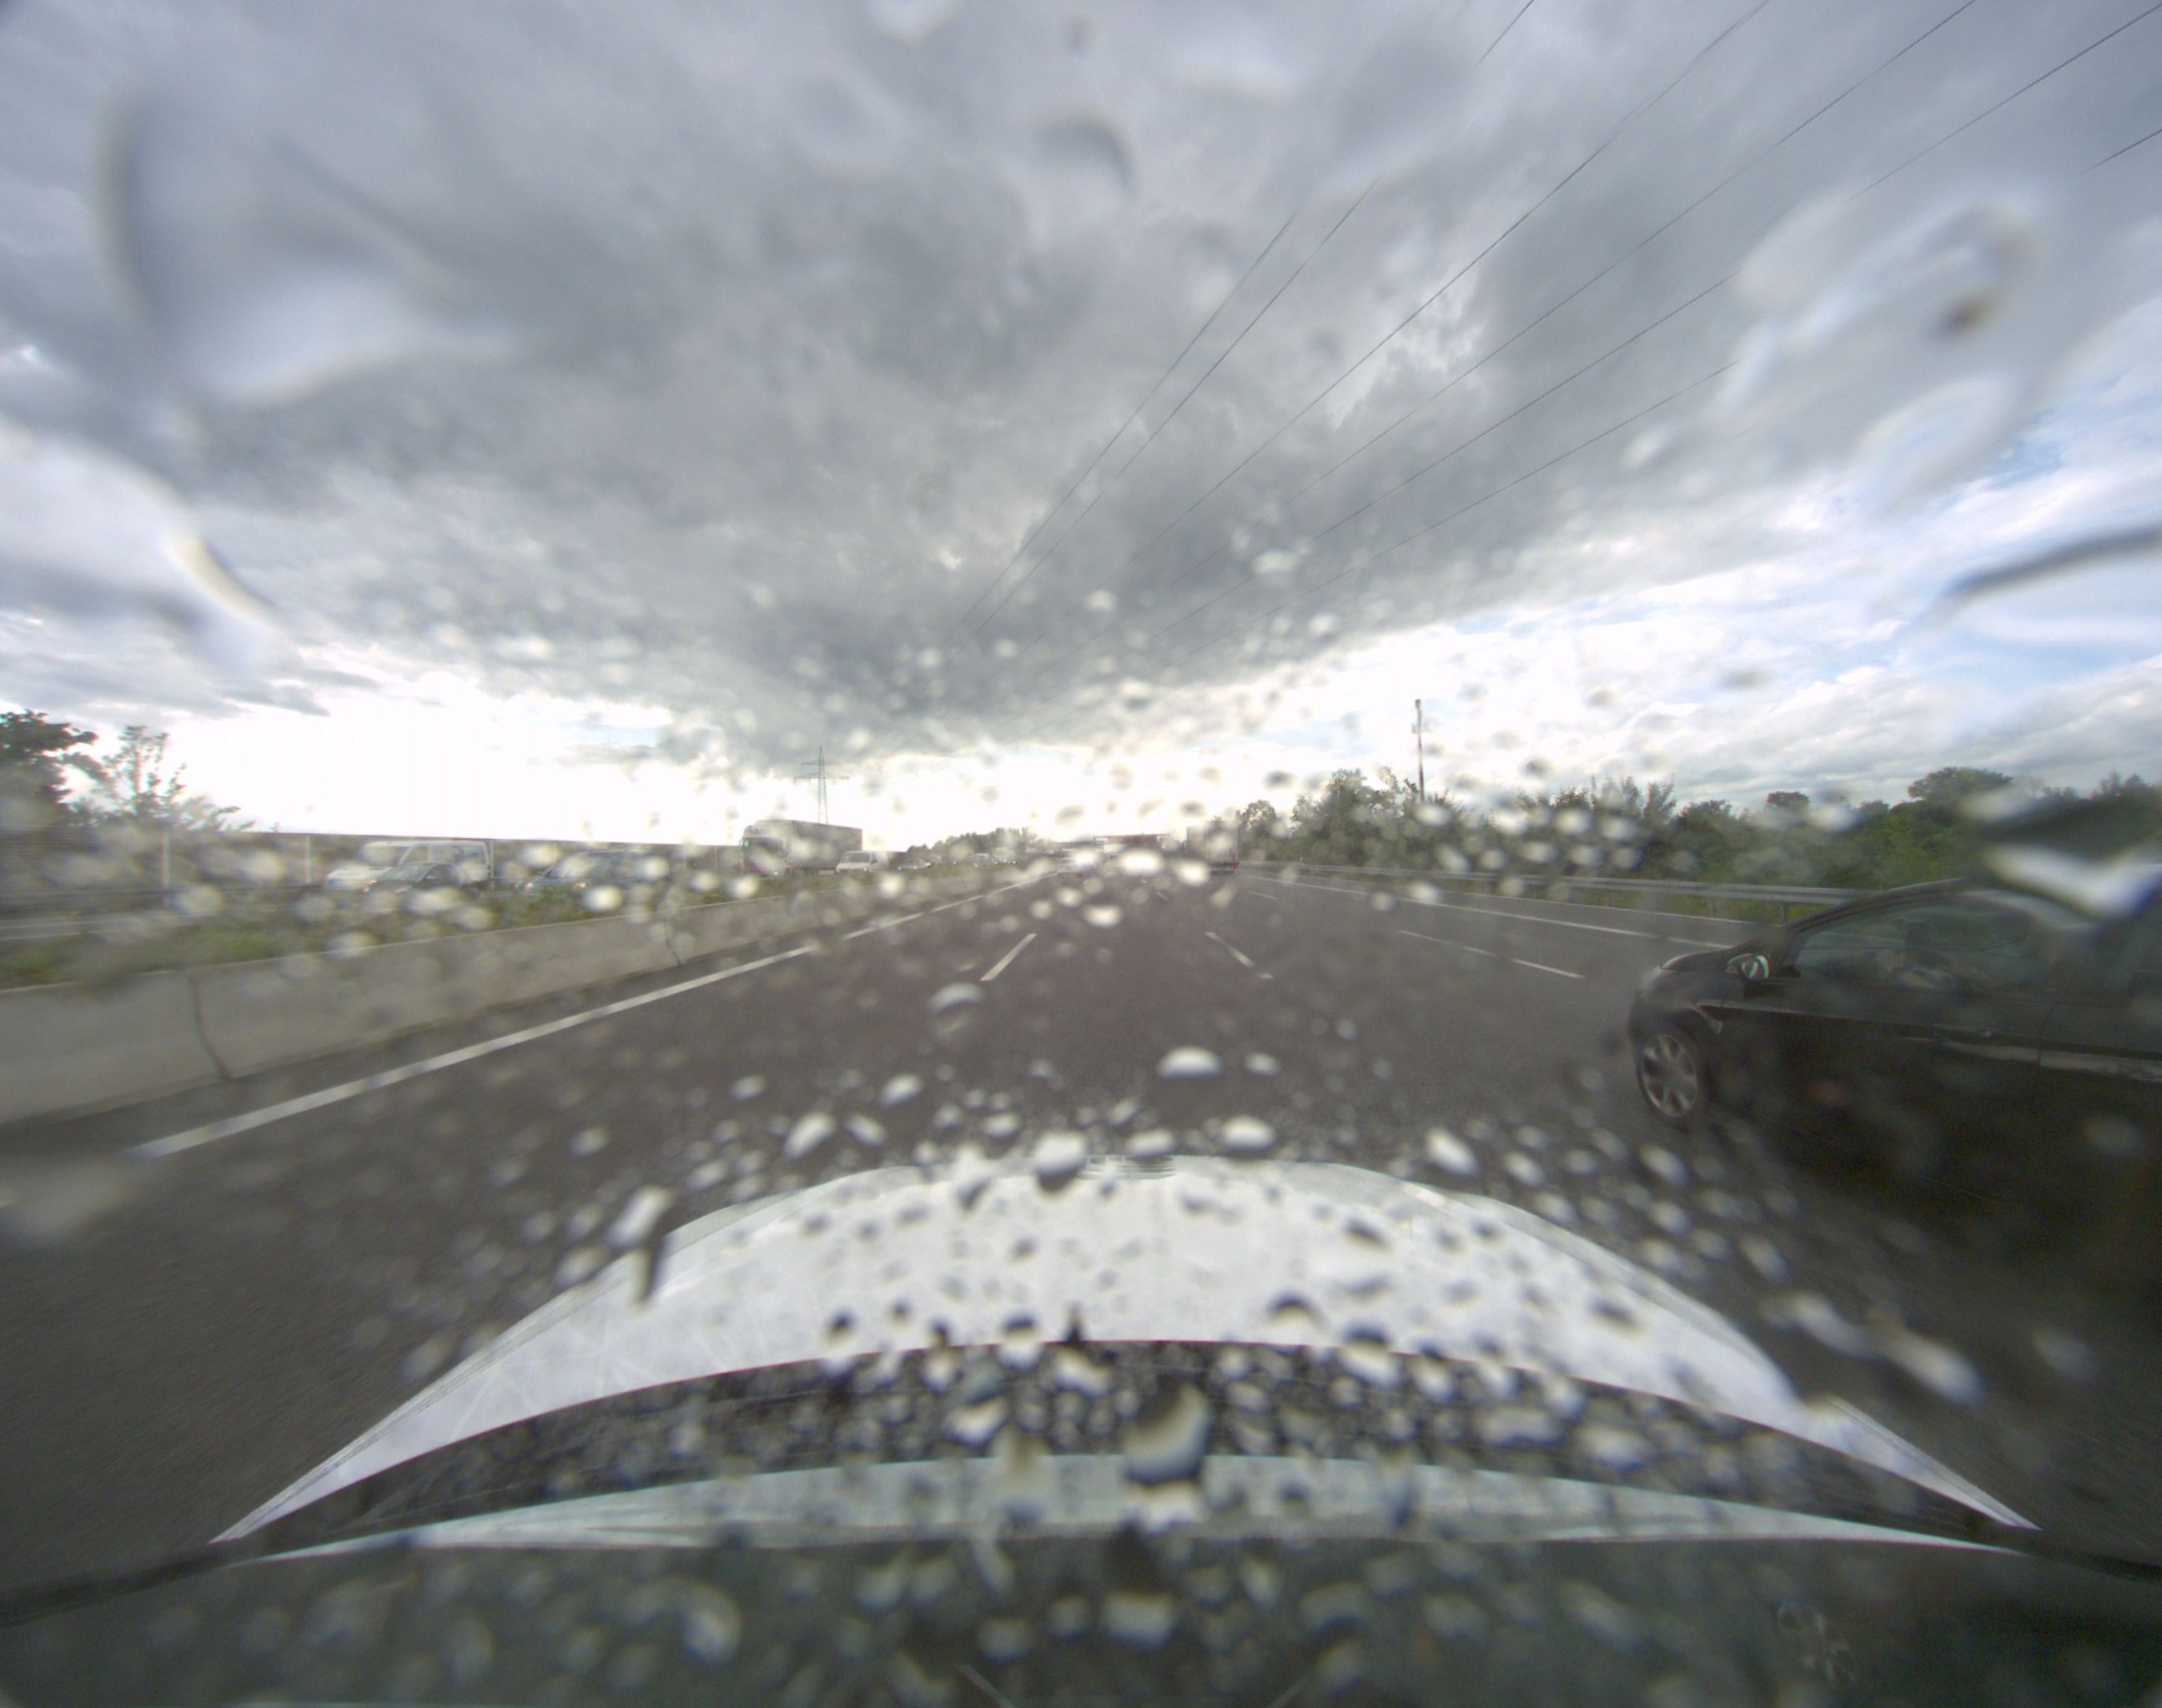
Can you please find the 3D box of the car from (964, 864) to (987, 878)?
[{"bbox_3d":[-11.456,1.862,88.562,1.759,1.454,5.087,0,0,2],"label":"car"}]

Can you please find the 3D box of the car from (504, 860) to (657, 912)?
[{"bbox_3d":[-16.359,0.977,27.023,1.759,1.537,5.162,0,0,2],"label":"car"}]

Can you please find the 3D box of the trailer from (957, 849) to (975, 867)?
[{"bbox_3d":[-19.121,0.660,135.883,2.239,2.962,4.902,0,-1,1],"label":"trailer"}]

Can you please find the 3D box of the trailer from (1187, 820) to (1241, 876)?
[{"bbox_3d":[10.456,-0.411,65.699,2.948,4.020,14.132,-1,0,4],"label":"trailer"}]

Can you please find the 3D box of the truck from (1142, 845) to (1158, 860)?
[{"bbox_3d":[20.068,-0.411,237.911,4.226,4.176,11.999,0,0,3],"label":"truck"}]

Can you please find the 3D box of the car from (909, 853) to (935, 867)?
[{"bbox_3d":[-17.458,0.683,89.813,1.759,1.454,4.944,0,0,1],"label":"car"}]

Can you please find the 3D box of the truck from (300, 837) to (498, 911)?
[{"bbox_3d":[-24.359,0.680,29.520,2.108,2.417,5.800,0,0,2],"label":"truck"}]

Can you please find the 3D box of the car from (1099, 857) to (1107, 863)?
[{"bbox_3d":[5.465,1.394,204.257,1.765,1.441,4.059,-1,0,3],"label":"car"}]

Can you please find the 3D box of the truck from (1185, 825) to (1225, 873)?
[{"bbox_3d":[10.905,-0.388,72.291,2.948,4.020,6.595,-1,0,4],"label":"truck"}]

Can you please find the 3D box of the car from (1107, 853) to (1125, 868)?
[{"bbox_3d":[3.496,0.660,82.576,1.766,1.441,4.057,-1,0,2],"label":"car"}]

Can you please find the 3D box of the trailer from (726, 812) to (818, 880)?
[{"bbox_3d":[-19.354,-0.448,51.452,3.307,4.044,6.081,0,-1,1],"label":"trailer"}]

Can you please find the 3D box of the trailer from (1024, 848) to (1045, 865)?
[{"bbox_3d":[-11.702,0.597,205.646,3.645,4.108,13.410,0,0,3],"label":"trailer"}]

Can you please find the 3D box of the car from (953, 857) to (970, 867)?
[{"bbox_3d":[-19.226,1.327,131.007,1.958,1.595,4.822,0,0,1],"label":"car"}]

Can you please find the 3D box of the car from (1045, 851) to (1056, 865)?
[{"bbox_3d":[-9.283,1.170,249.115,2.971,4.150,6.046,0,-1,2],"label":"car"}]

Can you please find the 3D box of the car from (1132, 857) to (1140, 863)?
[{"bbox_3d":[12.514,1.333,185.564,1.828,1.441,4.059,-1,0,3],"label":"car"}]

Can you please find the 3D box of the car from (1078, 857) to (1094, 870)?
[{"bbox_3d":[0.614,1.129,97.262,1.766,1.441,4.057,-1,0,2],"label":"car"}]

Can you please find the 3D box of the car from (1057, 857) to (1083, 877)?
[{"bbox_3d":[-0.788,0.973,61.124,1.766,1.441,3.875,-1,0,2],"label":"car"}]

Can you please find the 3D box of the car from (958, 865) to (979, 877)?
[{"bbox_3d":[-13.988,2.095,101.666,1.759,1.454,4.944,0,0,1],"label":"car"}]

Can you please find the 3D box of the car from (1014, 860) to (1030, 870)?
[{"bbox_3d":[-8.713,1.670,120.492,1.820,1.454,4.944,0,0,1],"label":"car"}]

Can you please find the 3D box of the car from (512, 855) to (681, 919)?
[{"bbox_3d":[-12.822,0.819,21.939,1.759,1.537,4.484,0,0,1],"label":"car"}]

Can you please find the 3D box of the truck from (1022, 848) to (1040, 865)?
[{"bbox_3d":[-12.081,0.552,199.176,3.645,4.048,6.530,0,-1,3],"label":"truck"}]

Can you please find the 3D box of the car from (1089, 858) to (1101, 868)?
[{"bbox_3d":[2.259,1.403,129.609,1.766,1.441,4.056,-1,0,1],"label":"car"}]

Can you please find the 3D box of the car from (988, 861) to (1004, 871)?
[{"bbox_3d":[-12.605,1.736,120.994,1.759,1.454,4.235,0,0,1],"label":"car"}]

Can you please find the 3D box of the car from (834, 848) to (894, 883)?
[{"bbox_3d":[-12.217,0.646,46.232,1.915,1.899,5.162,0,0,1],"label":"car"}]

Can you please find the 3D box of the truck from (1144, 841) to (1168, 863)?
[{"bbox_3d":[14.652,-0.348,159.541,4.163,4.288,12.620,0,0,3],"label":"truck"}]

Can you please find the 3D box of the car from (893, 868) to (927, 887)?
[{"bbox_3d":[-14.858,2.025,70.985,1.759,1.537,5.162,0,0,2],"label":"car"}]

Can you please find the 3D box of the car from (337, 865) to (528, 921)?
[{"bbox_3d":[-20.122,1.138,25.656,1.759,1.537,5.162,0,0,2],"label":"car"}]

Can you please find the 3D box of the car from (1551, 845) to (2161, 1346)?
[{"bbox_3d":[3.870,0.694,3.927,1.441,1.441,3.165,-1,0,2],"label":"car"}]

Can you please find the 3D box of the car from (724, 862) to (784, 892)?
[{"bbox_3d":[-24.984,1.698,62.401,2.108,2.194,5.800,0,0,1],"label":"car"}]

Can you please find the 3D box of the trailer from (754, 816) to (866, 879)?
[{"bbox_3d":[-19.156,-0.380,58.884,3.307,4.061,13.292,0,0,2],"label":"trailer"}]

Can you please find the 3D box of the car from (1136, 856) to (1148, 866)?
[{"bbox_3d":[9.720,1.107,129.107,1.828,1.441,4.059,-1,0,3],"label":"car"}]

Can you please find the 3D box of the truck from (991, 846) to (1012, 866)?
[{"bbox_3d":[-17.941,0.439,184.170,3.646,4.319,8.242,0,-1,2],"label":"truck"}]
